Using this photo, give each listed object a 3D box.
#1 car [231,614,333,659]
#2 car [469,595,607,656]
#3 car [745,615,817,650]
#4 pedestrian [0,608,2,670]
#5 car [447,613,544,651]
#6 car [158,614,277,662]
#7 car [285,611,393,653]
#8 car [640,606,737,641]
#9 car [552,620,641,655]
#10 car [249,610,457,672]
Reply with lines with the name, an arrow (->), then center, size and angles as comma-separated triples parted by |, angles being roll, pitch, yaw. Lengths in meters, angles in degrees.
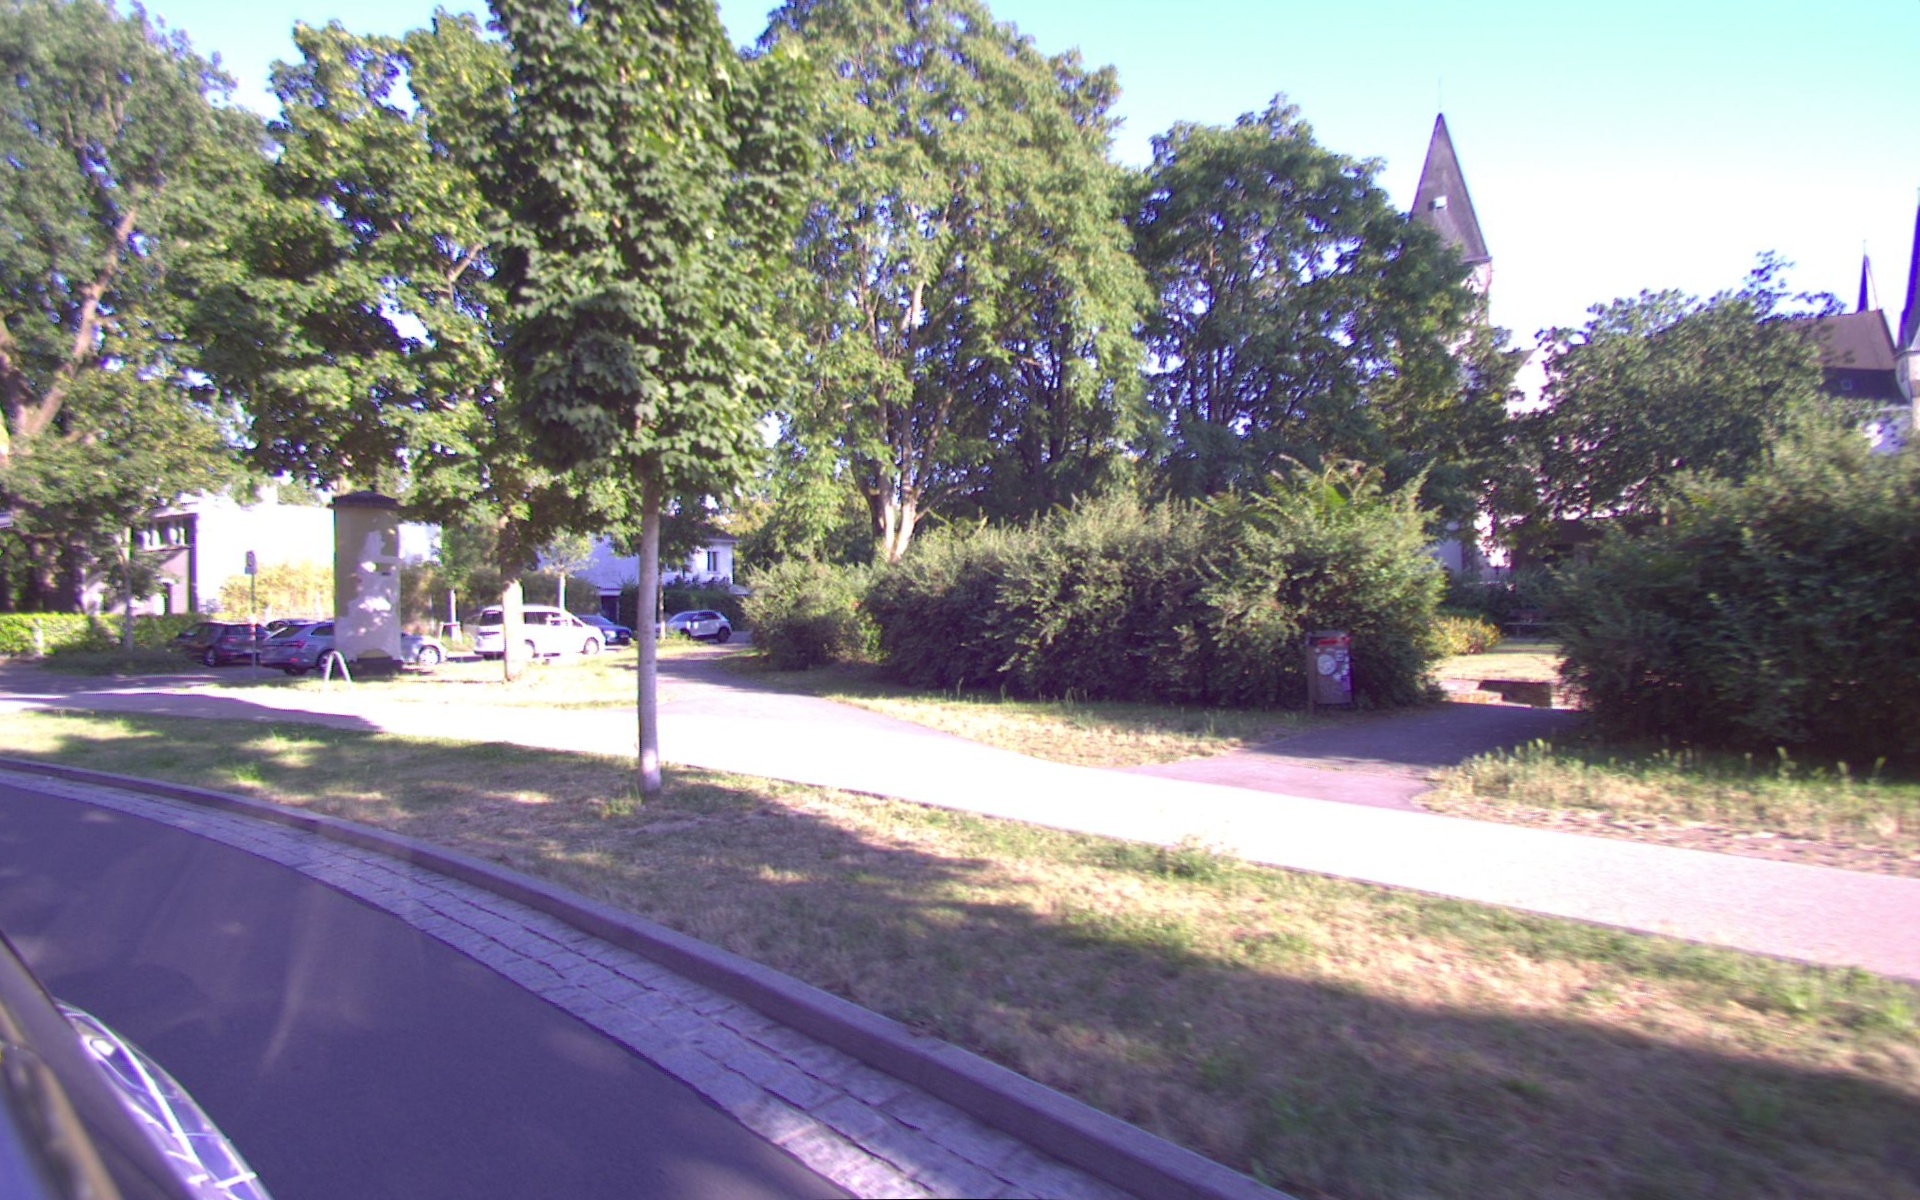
car -> -24.487, 1.280, 36.535 | 3.338, 1.502, 1.623 | 0, 0, 26
car -> -14.219, 0.828, 34.350 | 1.754, 1.931, 4.198 | -2, -1, 28
car -> -8.215, 1.481, 46.708 | 1.708, 1.520, 3.281 | -2, -1, 25
pedestrian -> -28.334, 1.147, 29.522 | 0.664, 1.788, 0.431 | -2, -1, 33
car -> -20.112, 1.381, 43.853 | 3.902, 1.549, 1.730 | -2, 0, 26
car -> -24.901, 1.251, 33.930 | 3.979, 1.527, 1.631 | -1, -1, 27
car -> -23.693, 1.189, 38.617 | 4.083, 1.468, 1.793 | 0, 0, 30
car -> -12.647, 1.083, 47.395 | 1.777, 1.547, 4.299 | -3, -2, 32
car -> -17.229, 1.766, 47.956 | 3.902, 1.549, 1.730 | 0, 0, 26
car -> -16.962, 1.107, 28.567 | 1.859, 1.570, 4.792 | -2, -1, 28
